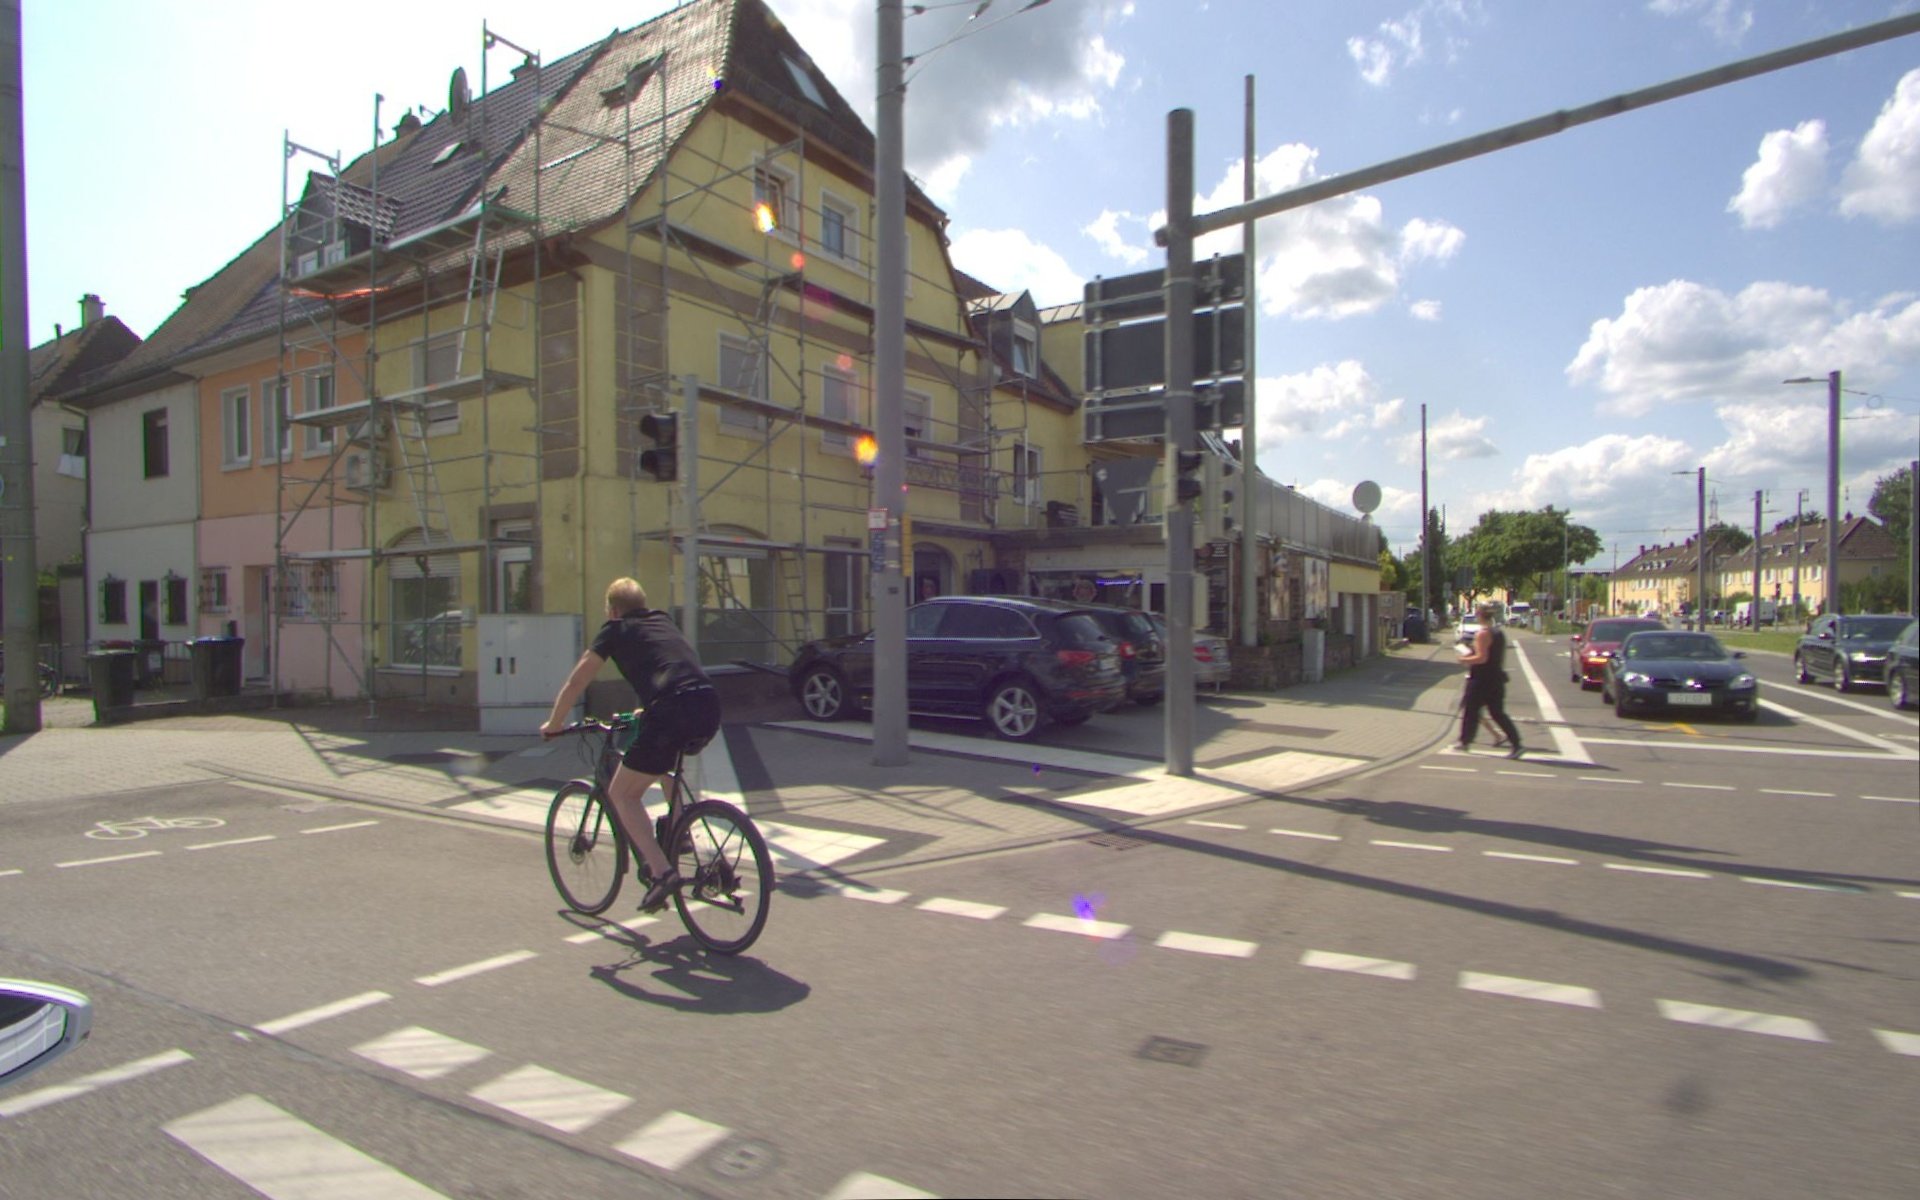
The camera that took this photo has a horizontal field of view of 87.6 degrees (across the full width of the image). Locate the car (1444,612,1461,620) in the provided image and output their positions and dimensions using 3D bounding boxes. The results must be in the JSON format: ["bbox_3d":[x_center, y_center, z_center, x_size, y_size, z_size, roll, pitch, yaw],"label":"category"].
[{"bbox_3d":[103.254,3.365,209.877,1.961,1.746,4.002,0,-2,5],"label":"car"}]

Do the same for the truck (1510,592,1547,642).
[{"bbox_3d":[45.907,1.457,80.943,2.473,3.874,7.613,0,-2,29],"label":"truck"}]

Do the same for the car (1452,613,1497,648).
[{"bbox_3d":[23.364,1.402,45.401,1.713,1.492,4.313,-1,-2,29],"label":"car"}]

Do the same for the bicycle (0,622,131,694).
[{"bbox_3d":[-15.888,0.979,17.003,0.775,1.120,2.656,0,1,31],"label":"bicycle"}]

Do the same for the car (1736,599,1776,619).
[{"bbox_3d":[72.621,0.865,91.431,1.968,1.746,3.988,0,-2,25],"label":"car"}]

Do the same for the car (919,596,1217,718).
[{"bbox_3d":[1.603,0.813,15.240,4.072,1.616,1.990,-1,-2,33],"label":"car"}]

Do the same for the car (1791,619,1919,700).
[{"bbox_3d":[18.221,1.102,19.982,1.713,1.346,4.310,-1,0,29],"label":"car"}]

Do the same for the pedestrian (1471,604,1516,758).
[{"bbox_3d":[5.949,0.886,11.162,0.396,1.664,0.545,0,-1,34],"label":"pedestrian"}]

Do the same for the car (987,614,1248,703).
[{"bbox_3d":[2.682,0.964,17.289,4.072,1.368,1.864,-1,-2,33],"label":"car"}]

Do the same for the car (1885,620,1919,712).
[{"bbox_3d":[14.878,1.010,14.108,1.713,1.346,4.310,-1,0,29],"label":"car"}]

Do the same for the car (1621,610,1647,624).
[{"bbox_3d":[85.891,2.184,127.612,1.966,1.746,3.991,0,-2,23],"label":"car"}]

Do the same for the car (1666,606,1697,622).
[{"bbox_3d":[79.730,1.554,110.688,1.966,1.746,3.991,0,-2,23],"label":"car"}]

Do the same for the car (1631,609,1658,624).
[{"bbox_3d":[83.698,1.992,122.538,1.966,1.746,3.991,0,-2,23],"label":"car"}]

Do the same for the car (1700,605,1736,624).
[{"bbox_3d":[75.818,1.472,100.223,1.966,1.746,3.991,0,-2,23],"label":"car"}]

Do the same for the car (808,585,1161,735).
[{"bbox_3d":[0.268,0.711,12.748,4.072,1.616,1.990,-1,-2,33],"label":"car"}]

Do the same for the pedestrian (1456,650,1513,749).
[{"bbox_3d":[6.282,1.183,12.006,0.480,1.150,0.389,0,-1,-1],"label":"pedestrian"}]

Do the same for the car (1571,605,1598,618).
[{"bbox_3d":[90.786,1.700,145.620,1.961,1.746,4.001,0,-2,8],"label":"car"}]

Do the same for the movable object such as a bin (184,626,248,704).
[{"bbox_3d":[-11.038,0.946,14.853,0.843,1.119,0.510,-1,0,33],"label":"movable object such as a bin"}]

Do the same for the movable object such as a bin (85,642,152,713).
[{"bbox_3d":[-11.531,1.050,13.724,0.731,0.930,0.510,-1,0,33],"label":"movable object such as a bin"}]

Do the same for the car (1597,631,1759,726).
[{"bbox_3d":[11.525,1.182,16.327,1.714,1.325,4.311,-1,-2,30],"label":"car"}]

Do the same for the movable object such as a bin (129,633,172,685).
[{"bbox_3d":[-15.246,1.099,18.856,0.550,0.959,0.467,0,1,32],"label":"movable object such as a bin"}]

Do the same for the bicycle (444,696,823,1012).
[{"bbox_3d":[-1.675,1.127,4.999,1.945,1.090,0.825,1,2,37],"label":"bicycle"}]

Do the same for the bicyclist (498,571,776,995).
[{"bbox_3d":[-1.583,0.777,4.923,1.070,1.818,0.825,1,2,37],"label":"bicyclist"}]

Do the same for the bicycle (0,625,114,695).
[{"bbox_3d":[-16.521,1.055,17.376,0.681,1.134,2.720,0,1,31],"label":"bicycle"}]

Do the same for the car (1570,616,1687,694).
[{"bbox_3d":[14.283,1.140,21.597,1.713,1.492,4.313,-1,-2,29],"label":"car"}]

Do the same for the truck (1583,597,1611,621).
[{"bbox_3d":[89.574,1.316,140.922,1.964,3.267,5.331,0,-2,17],"label":"truck"}]

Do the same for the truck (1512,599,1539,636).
[{"bbox_3d":[58.032,1.887,102.846,2.344,3.582,8.499,0,-2,29],"label":"truck"}]

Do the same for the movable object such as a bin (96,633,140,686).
[{"bbox_3d":[-15.509,1.086,18.442,0.550,0.959,0.467,0,0,32],"label":"movable object such as a bin"}]

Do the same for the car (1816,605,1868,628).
[{"bbox_3d":[68.930,1.296,78.296,1.968,1.746,3.988,0,-2,25],"label":"car"}]
